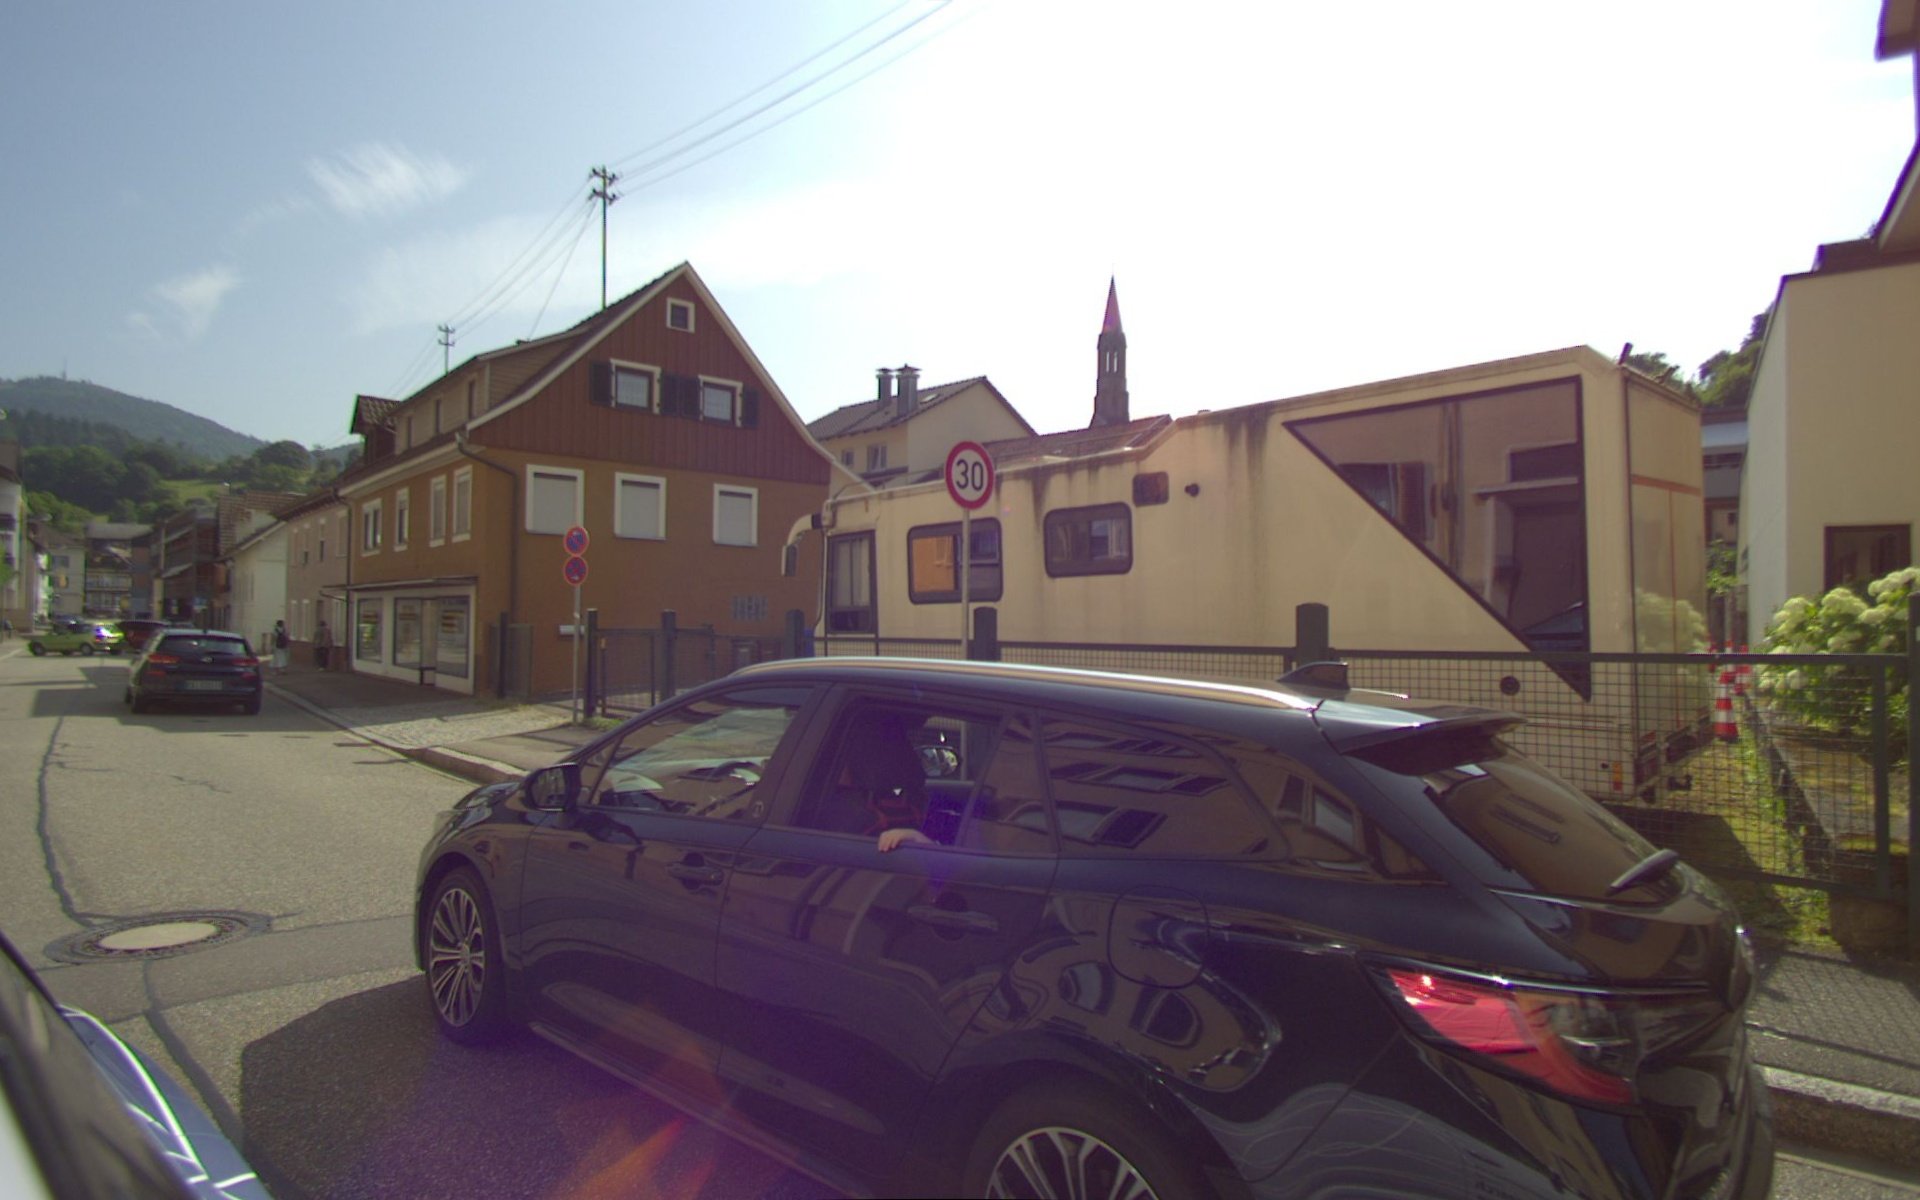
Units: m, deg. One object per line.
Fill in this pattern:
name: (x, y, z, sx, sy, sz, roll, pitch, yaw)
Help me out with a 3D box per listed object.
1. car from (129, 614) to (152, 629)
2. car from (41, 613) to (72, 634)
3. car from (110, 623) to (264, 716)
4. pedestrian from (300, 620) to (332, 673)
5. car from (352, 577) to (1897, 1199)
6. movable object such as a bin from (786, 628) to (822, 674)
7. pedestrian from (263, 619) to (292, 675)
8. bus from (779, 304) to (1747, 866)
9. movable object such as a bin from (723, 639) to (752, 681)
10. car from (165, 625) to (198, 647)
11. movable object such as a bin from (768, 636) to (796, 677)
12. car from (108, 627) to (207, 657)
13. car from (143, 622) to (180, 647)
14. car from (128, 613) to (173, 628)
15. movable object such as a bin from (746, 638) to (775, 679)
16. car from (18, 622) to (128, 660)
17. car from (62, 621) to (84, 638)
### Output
car: (-92.802, 2.466, 114.577, 1.760, 1.587, 3.893, -2, 0, -42)
car: (-89.243, 2.264, 99.945, 4.001, 2.029, 1.971, -1, -1, 44)
car: (-14.118, 1.215, 18.404, 1.727, 1.464, 4.031, 7, -6, -43)
pedestrian: (-19.612, 1.414, 30.806, 0.725, 1.576, 0.826, 0, -1, -40)
car: (-0.081, 0.810, 3.136, 4.254, 1.460, 1.642, -1, -6, 39)
movable object such as a bin: (-3.790, 1.231, 24.591, 0.537, 1.102, 0.745, 0, -1, -41)
pedestrian: (-20.348, 1.392, 30.189, 0.631, 1.639, 0.778, -1, -1, -39)
bus: (1.913, -0.022, 10.114, 2.787, 3.252, 9.044, -1, 0, -43)
movable object such as a bin: (-5.110, 1.379, 23.249, 0.472, 0.929, 0.487, 0, -1, -41)
car: (-53.660, 2.461, 69.697, 1.645, 1.443, 3.574, 0, -2, -40)
movable object such as a bin: (-4.226, 1.336, 24.004, 0.472, 0.929, 0.487, 0, -1, -41)
car: (-45.111, 2.360, 56.985, 3.934, 1.675, 1.828, 0, -3, -12)
car: (-57.462, 2.471, 72.806, 1.699, 1.810, 4.273, 2, -3, -43)
car: (-97.631, 2.484, 122.141, 1.833, 1.697, 3.946, -3, -4, 40)
movable object such as a bin: (-4.661, 1.350, 23.661, 0.472, 0.929, 0.487, 0, -1, -41)
car: (-39.719, 1.853, 45.347, 3.616, 1.475, 1.598, 3, -4, 7)
car: (-108.817, 3.585, 124.141, 3.840, 2.029, 1.718, -1, -2, 44)
